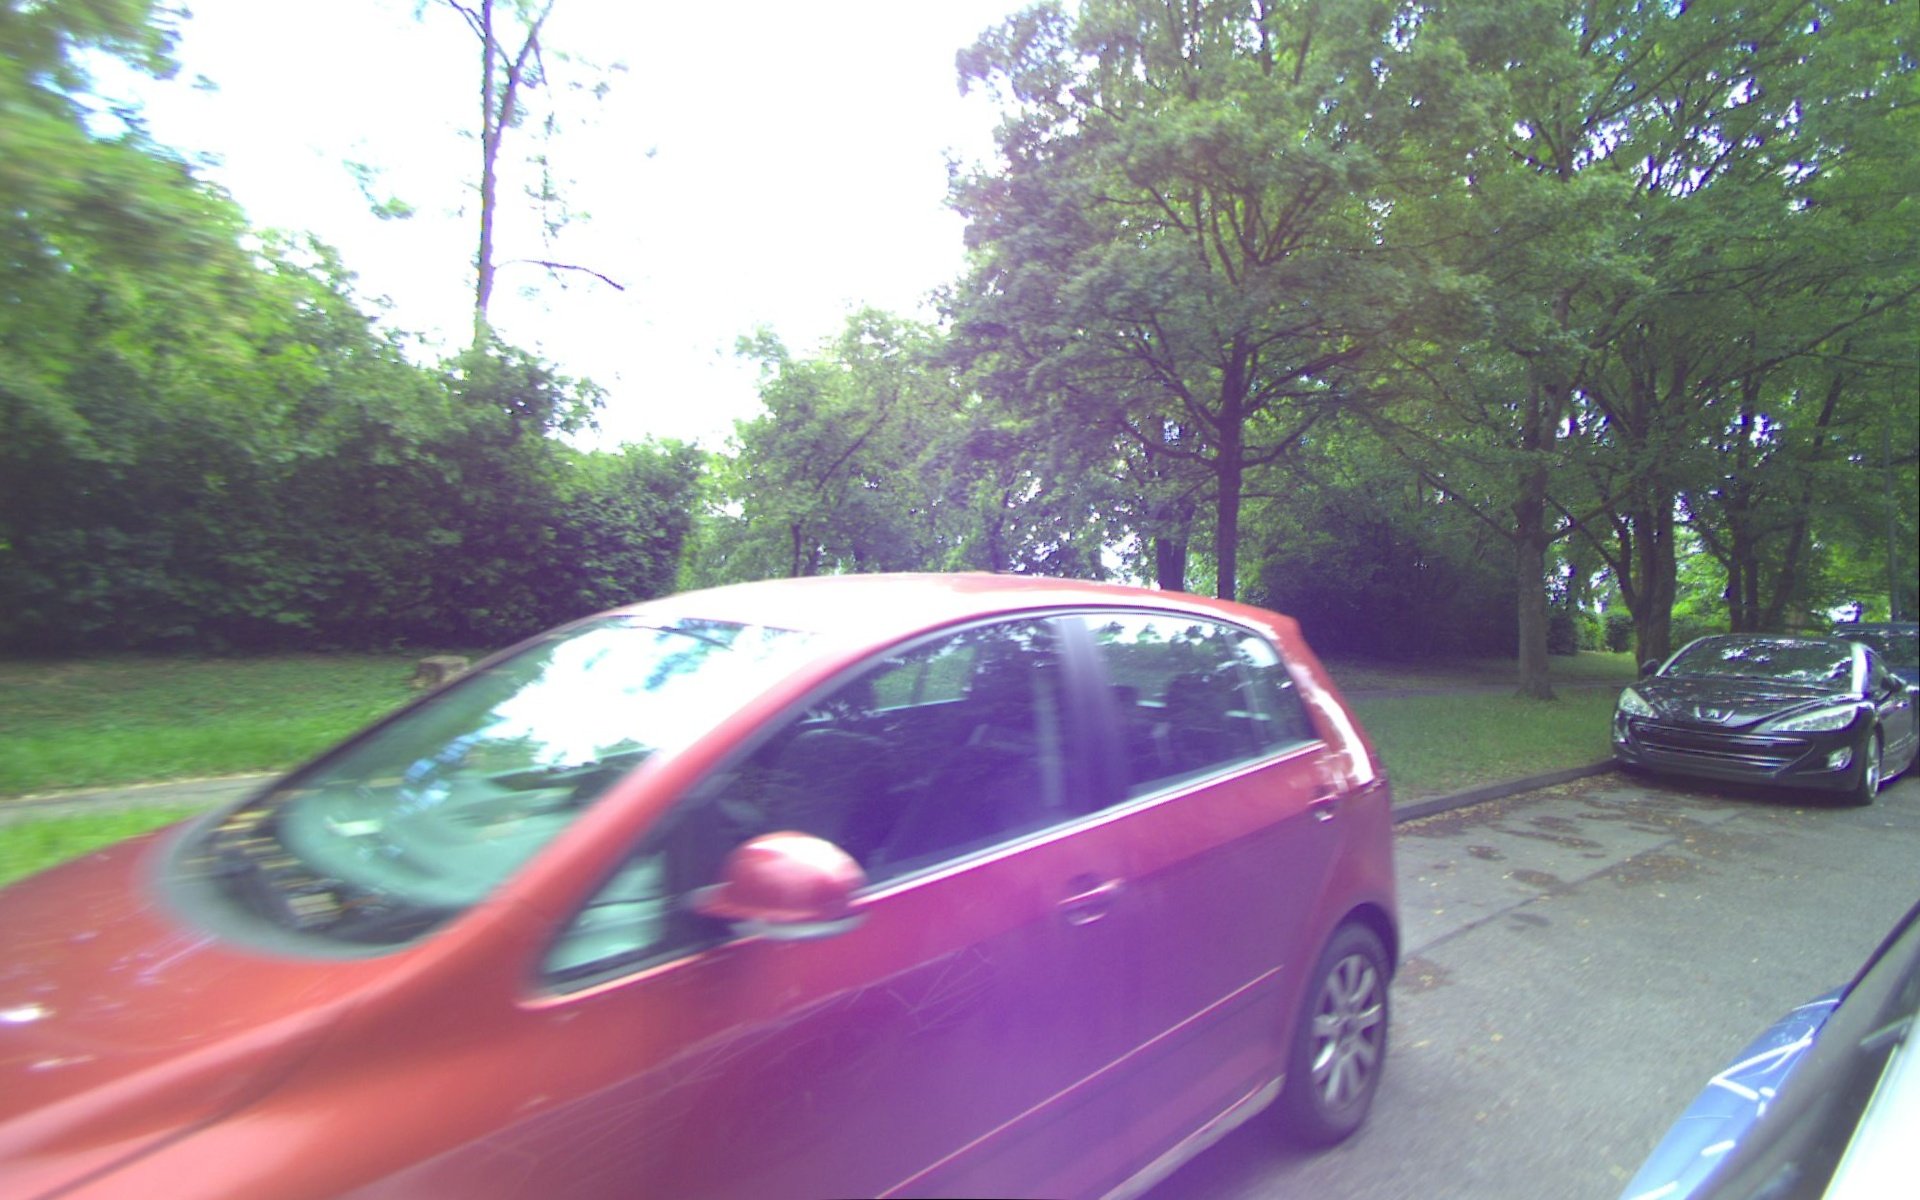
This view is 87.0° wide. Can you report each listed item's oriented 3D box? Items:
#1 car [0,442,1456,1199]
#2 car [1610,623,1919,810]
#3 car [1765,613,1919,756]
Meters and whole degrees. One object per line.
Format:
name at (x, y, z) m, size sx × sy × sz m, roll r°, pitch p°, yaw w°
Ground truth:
car at (-0.454, 0.630, 2.525) m, size 3.932 × 1.582 × 1.740 m, roll 1°, pitch 1°, yaw -43°
car at (7.957, 0.910, 9.573) m, size 4.335 × 1.354 × 1.754 m, roll 1°, pitch -1°, yaw -39°
car at (11.675, 0.933, 12.424) m, size 4.102 × 1.529 × 1.719 m, roll 1°, pitch -2°, yaw -36°
